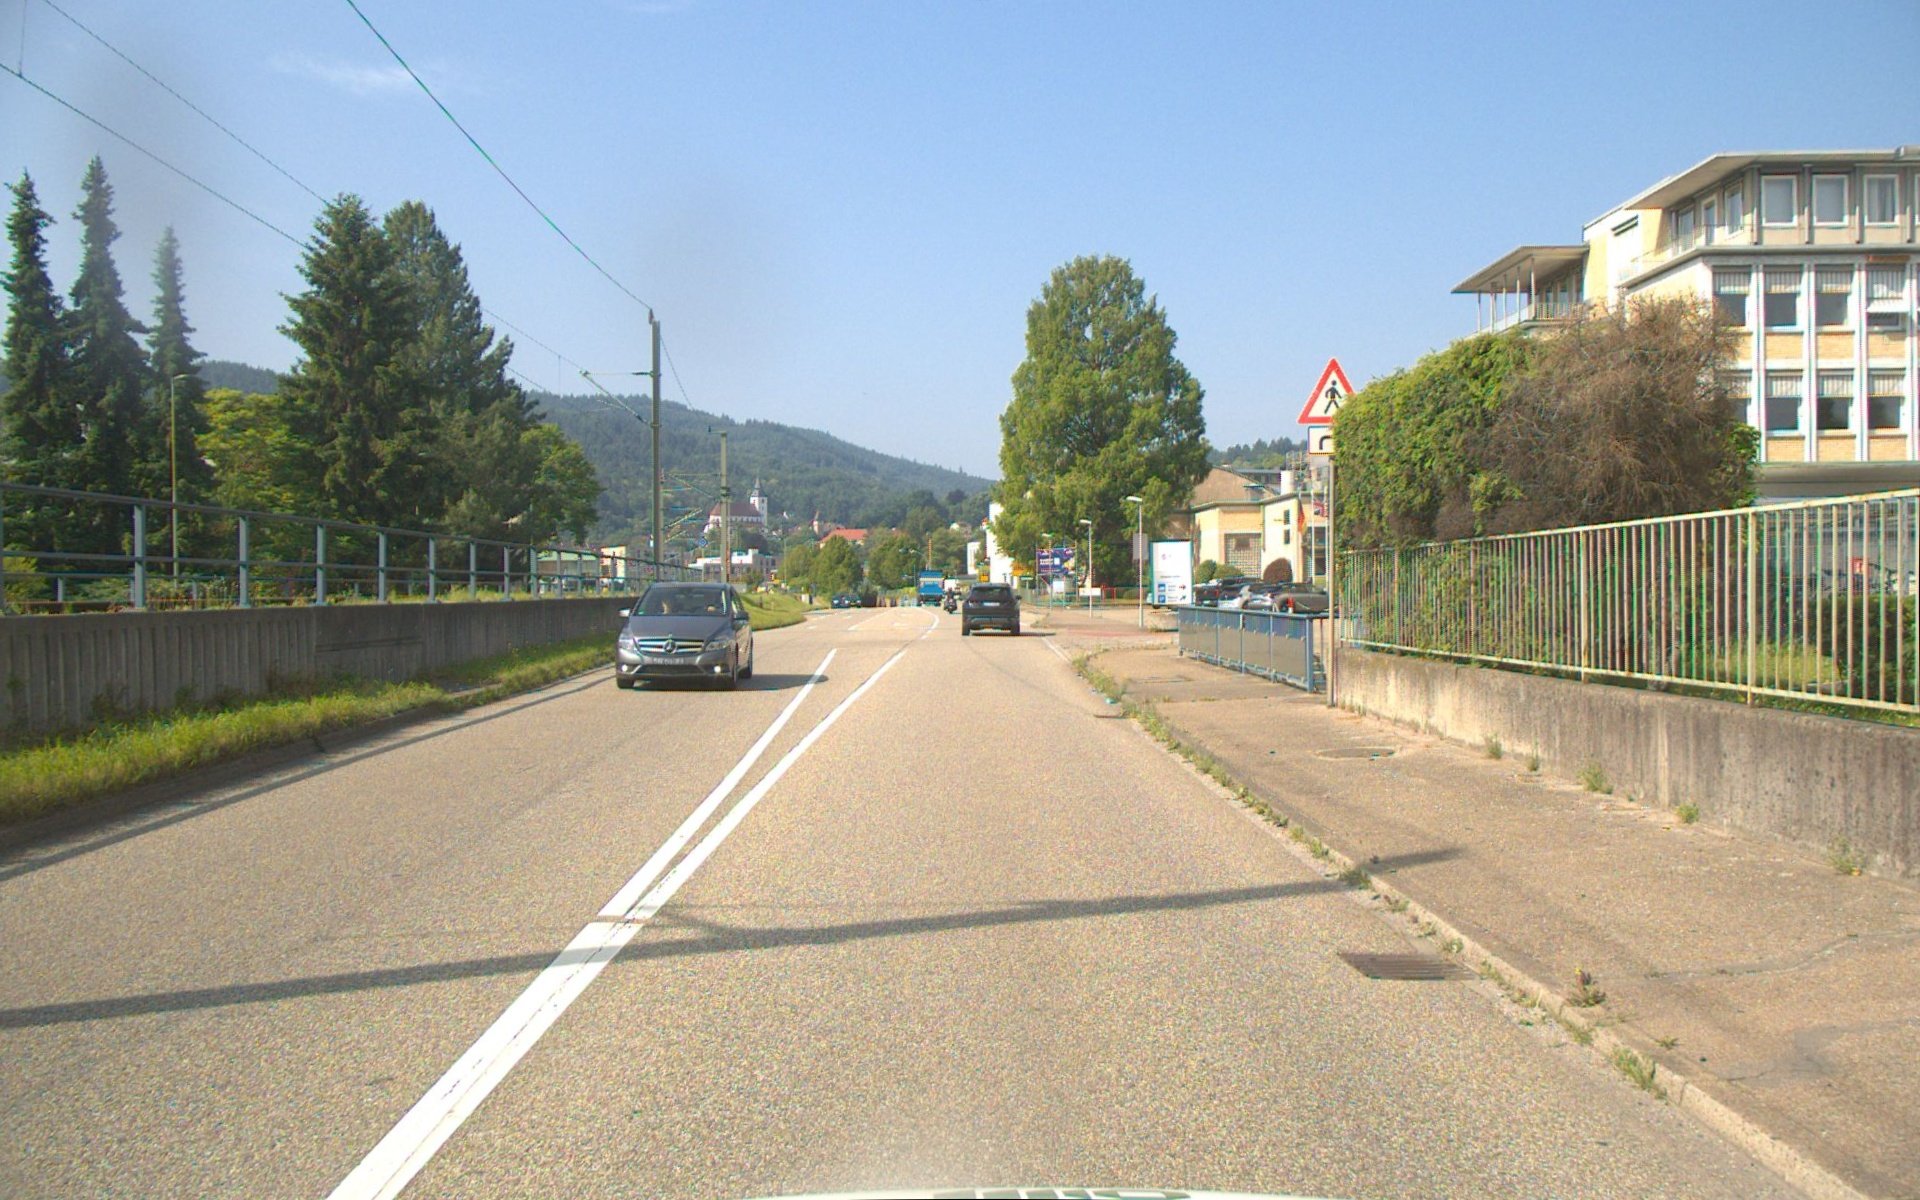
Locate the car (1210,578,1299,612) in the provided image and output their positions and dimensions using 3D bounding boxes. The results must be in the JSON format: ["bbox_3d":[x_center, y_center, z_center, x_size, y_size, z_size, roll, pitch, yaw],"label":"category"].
[{"bbox_3d":[14.107,-0.258,79.258,3.944,1.531,1.868,-1,0,-30],"label":"car"}]

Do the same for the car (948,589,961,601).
[{"bbox_3d":[-0.724,-0.694,221.823,1.730,1.512,4.000,0,0,1],"label":"car"}]

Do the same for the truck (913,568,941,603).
[{"bbox_3d":[-2.945,-1.327,147.485,2.266,3.022,5.962,-1,1,-3],"label":"truck"}]

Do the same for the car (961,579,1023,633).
[{"bbox_3d":[1.031,0.164,53.132,1.880,1.668,4.001,-1,0,1],"label":"car"}]

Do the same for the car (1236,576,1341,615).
[{"bbox_3d":[14.034,-0.197,70.670,4.251,1.531,1.868,-1,0,-30],"label":"car"}]

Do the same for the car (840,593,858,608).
[{"bbox_3d":[-11.001,0.036,164.685,1.720,1.454,3.998,-1,0,-3],"label":"car"}]

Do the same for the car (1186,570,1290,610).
[{"bbox_3d":[13.775,-0.512,81.971,4.966,1.864,1.963,-1,0,-30],"label":"car"}]

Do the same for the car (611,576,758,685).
[{"bbox_3d":[-4.171,0.420,25.590,1.707,1.533,4.198,0,0,-2],"label":"car"}]

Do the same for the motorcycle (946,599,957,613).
[{"bbox_3d":[-0.504,0.356,96.879,0.594,0.766,1.414,-1,0,-1],"label":"motorcycle"}]

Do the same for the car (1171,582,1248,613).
[{"bbox_3d":[14.238,-0.138,94.249,4.116,1.701,1.851,-1,0,-30],"label":"car"}]

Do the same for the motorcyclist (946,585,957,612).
[{"bbox_3d":[-0.512,-0.096,96.807,0.594,1.546,0.863,-1,0,-1],"label":"motorcyclist"}]
